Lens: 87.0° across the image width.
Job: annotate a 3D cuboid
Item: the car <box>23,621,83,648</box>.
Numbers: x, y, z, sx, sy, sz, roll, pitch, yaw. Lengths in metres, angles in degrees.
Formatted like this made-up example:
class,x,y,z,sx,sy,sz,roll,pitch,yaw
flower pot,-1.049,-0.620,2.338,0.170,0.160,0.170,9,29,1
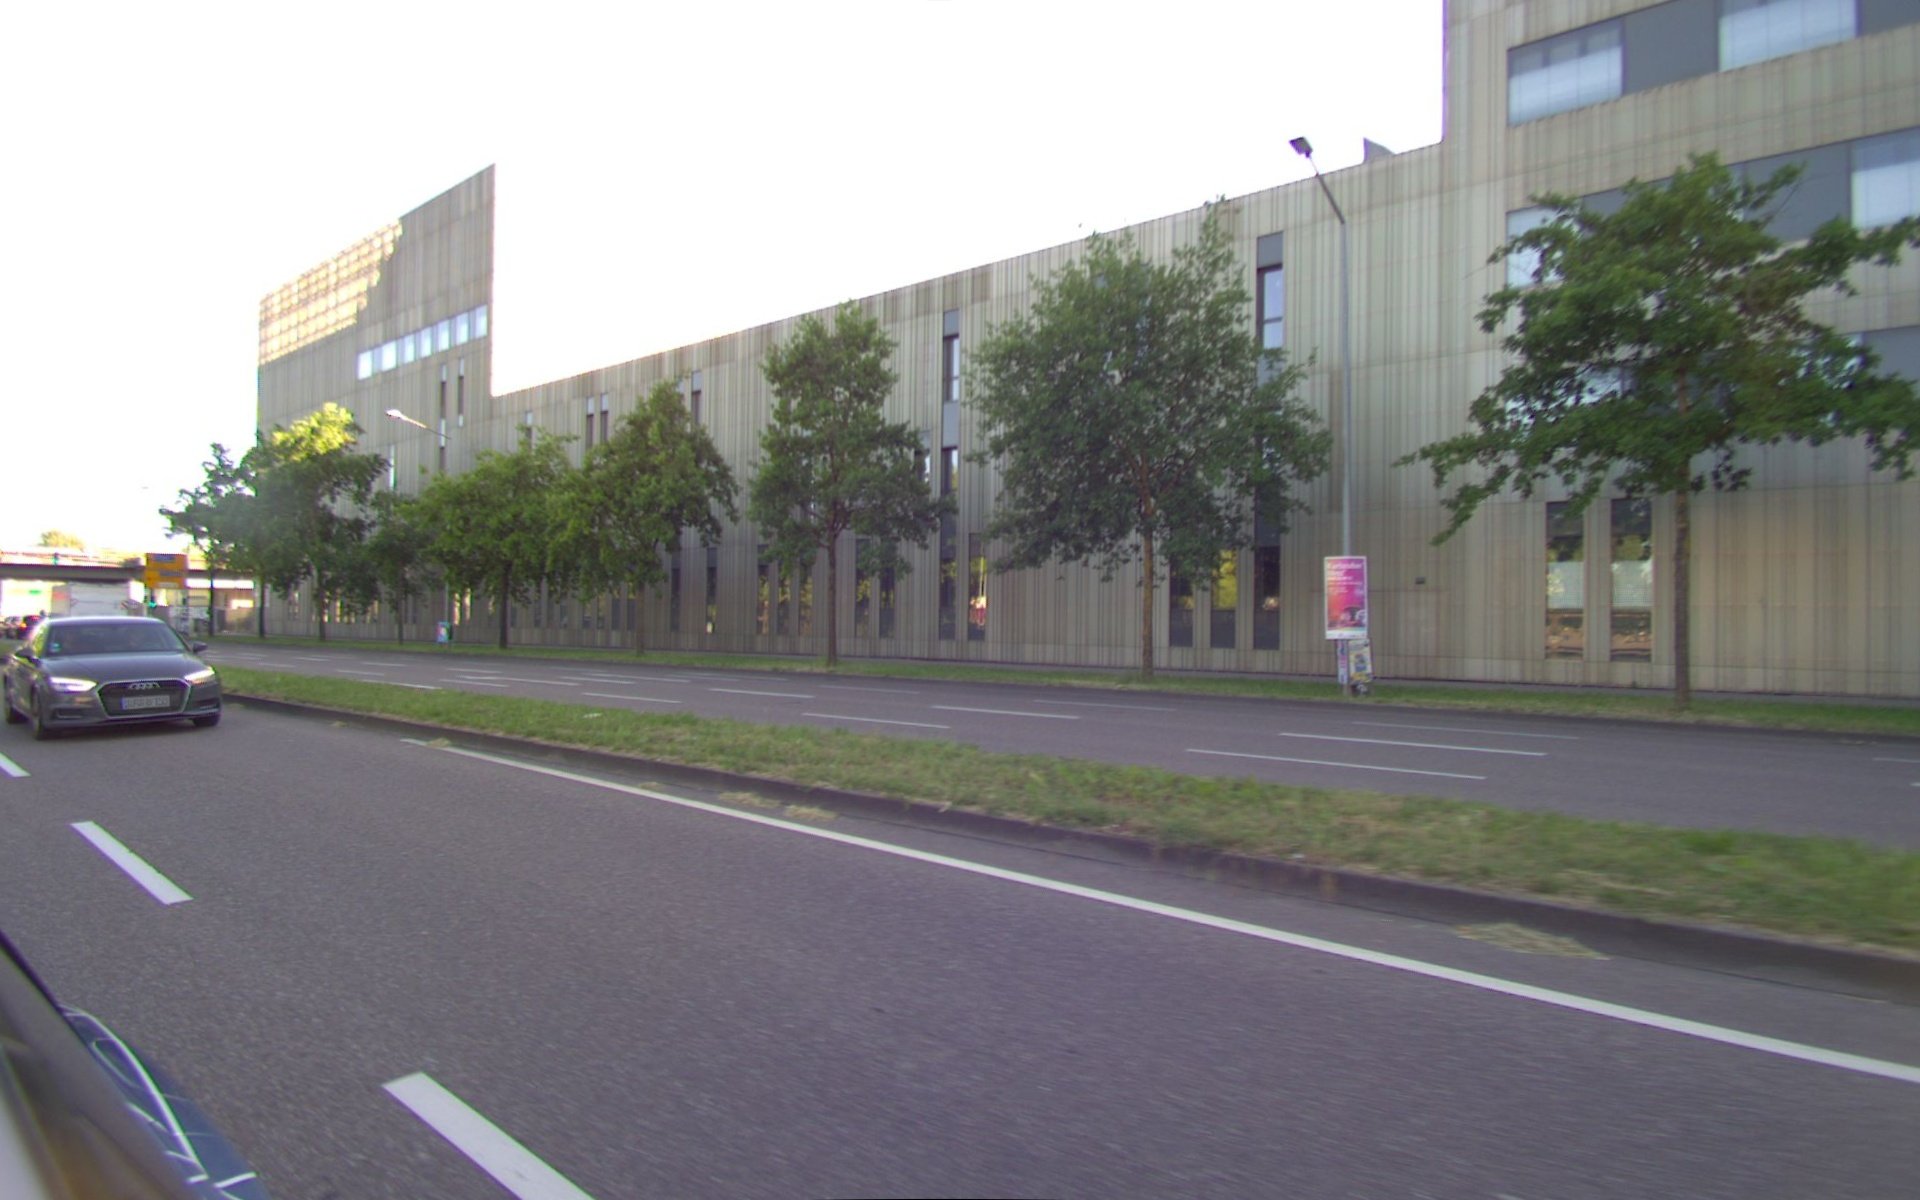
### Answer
class,x,y,z,sx,sy,sz,roll,pitch,yaw
car,-49.971,1.895,55.740,3.996,1.435,1.817,-1,-3,39

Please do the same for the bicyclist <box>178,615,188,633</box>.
class,x,y,z,sx,sy,sz,roll,pitch,yaw
bicyclist,-66.239,2.051,86.273,0.752,1.453,0.502,-1,-2,38

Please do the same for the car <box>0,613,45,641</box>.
class,x,y,z,sx,sy,sz,roll,pitch,yaw
car,-58.892,1.690,63.334,3.997,1.668,1.823,0,-2,40

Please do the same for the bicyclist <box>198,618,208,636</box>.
class,x,y,z,sx,sy,sz,roll,pitch,yaw
bicyclist,-64.404,2.308,86.075,0.644,1.518,0.502,-1,-2,38

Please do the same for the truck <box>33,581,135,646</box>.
class,x,y,z,sx,sy,sz,roll,pitch,yaw
truck,-44.016,0.700,50.789,7.108,2.983,2.659,-1,-4,40

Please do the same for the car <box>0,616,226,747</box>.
class,x,y,z,sx,sy,sz,roll,pitch,yaw
car,-11.185,0.920,13.052,4.360,1.415,1.681,-1,-2,39

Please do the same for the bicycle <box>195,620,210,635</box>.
class,x,y,z,sx,sy,sz,roll,pitch,yaw
bicycle,-64.437,2.355,86.100,2.097,1.280,0.507,-1,-2,39

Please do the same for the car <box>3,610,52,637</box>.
class,x,y,z,sx,sy,sz,roll,pitch,yaw
car,-55.115,1.387,59.807,3.636,1.481,1.604,-1,-3,40

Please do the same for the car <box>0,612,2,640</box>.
class,x,y,z,sx,sy,sz,roll,pitch,yaw
car,-55.064,1.475,56.375,4.654,1.695,1.806,-1,-3,39
